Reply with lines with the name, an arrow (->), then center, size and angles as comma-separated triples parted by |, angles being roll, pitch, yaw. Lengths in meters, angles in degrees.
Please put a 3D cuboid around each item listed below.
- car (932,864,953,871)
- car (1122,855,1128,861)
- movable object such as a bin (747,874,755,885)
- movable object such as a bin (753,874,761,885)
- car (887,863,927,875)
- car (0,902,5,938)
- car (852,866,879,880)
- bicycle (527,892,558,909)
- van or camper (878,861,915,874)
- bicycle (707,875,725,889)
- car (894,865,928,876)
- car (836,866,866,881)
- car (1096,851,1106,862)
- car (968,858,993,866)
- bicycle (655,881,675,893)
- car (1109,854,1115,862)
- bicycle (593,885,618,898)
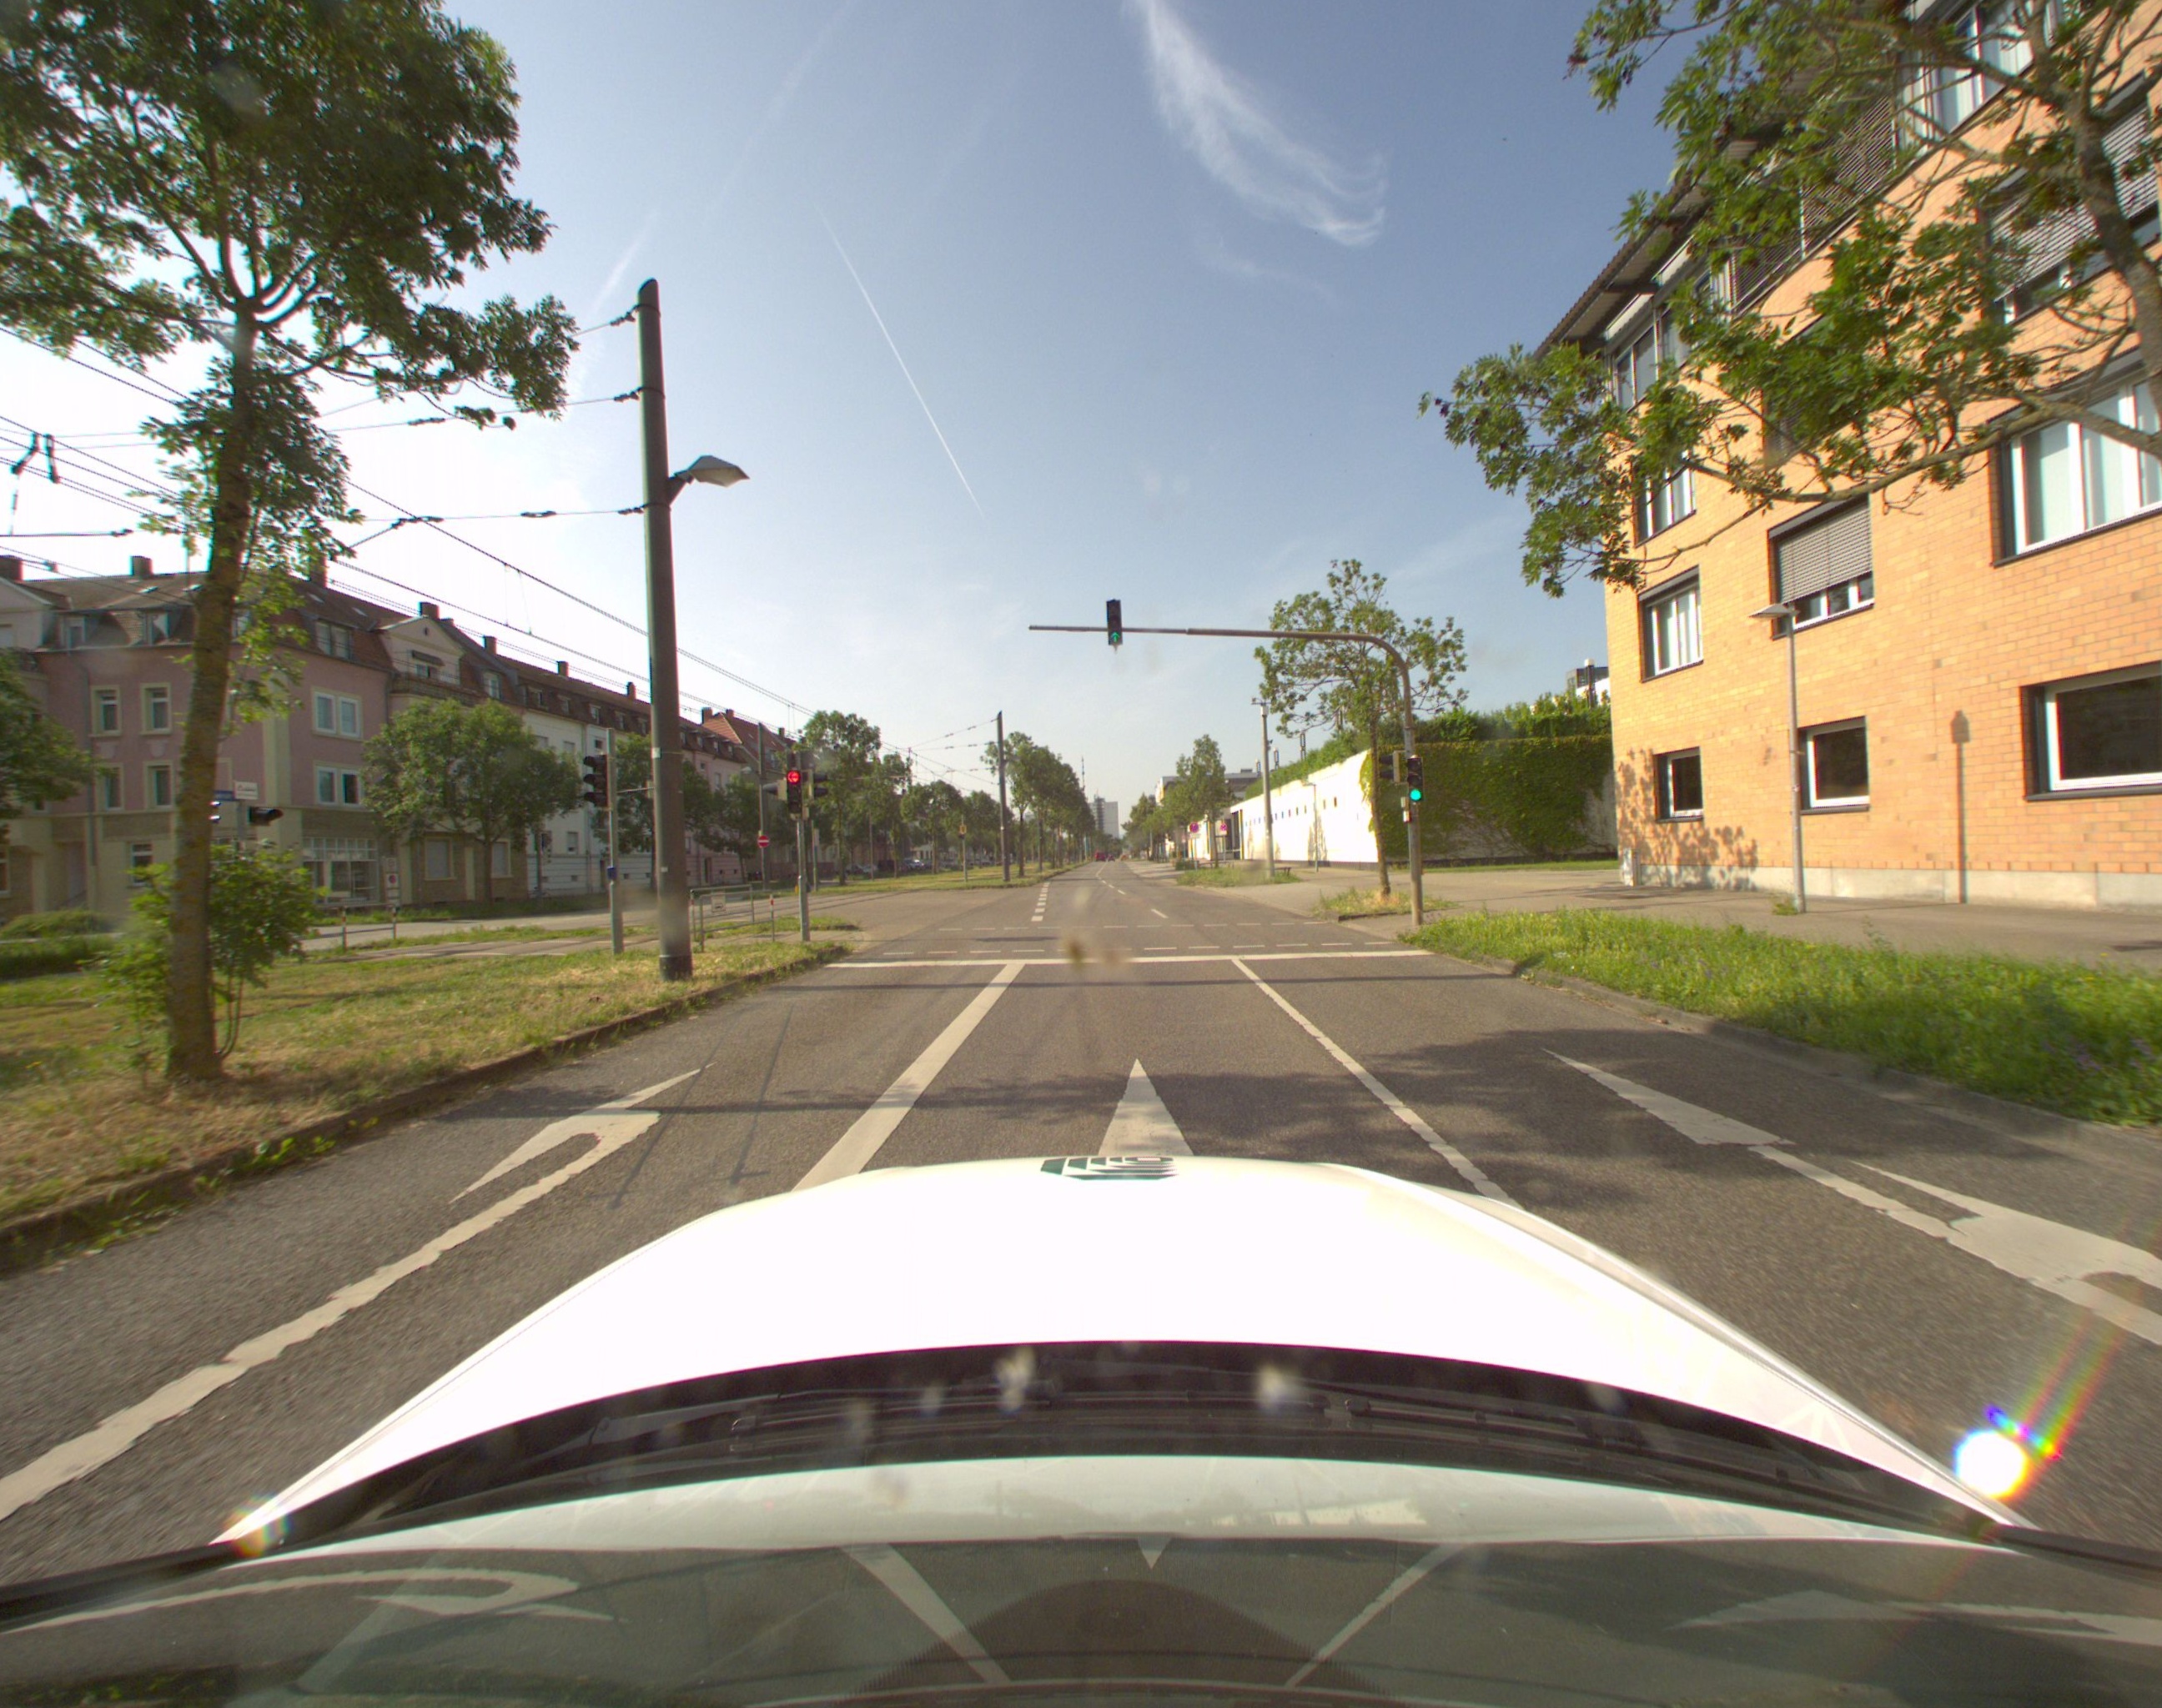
car -> -22.302, 2.165, 130.795 | 3.123, 1.161, 1.506 | -1, -1, 34
car -> 12.066, 1.124, 223.638 | 1.741, 1.650, 3.218 | 0, -1, 3
movable object such as a bin -> -35.146, 2.717, 86.747 | 0.583, 1.211, 0.640 | 0, -1, 1
movable object such as a bin -> -34.473, 2.713, 86.756 | 0.583, 1.211, 0.640 | 0, -1, 1
car -> -23.102, 2.011, 108.196 | 5.154, 1.623, 2.070 | -1, -1, 32
car -> -45.855, 2.705, 32.621 | 3.387, 1.462, 1.569 | 0, -1, 0
car -> -25.891, 2.283, 98.033 | 1.881, 1.628, 4.162 | 0, 0, 5
bicycle -> -30.677, 2.625, 46.413 | 0.466, 0.889, 1.948 | 0, -1, 1
van or camper -> -23.951, 1.783, 105.560 | 4.787, 1.623, 2.015 | -1, -1, 35
bicycle -> -30.005, 2.310, 66.945 | 0.602, 1.128, 1.948 | 0, -1, 1
car -> -23.215, 2.238, 111.280 | 4.419, 1.419, 1.988 | -1, -1, 32
car -> -26.085, 2.171, 92.357 | 1.987, 1.628, 4.775 | 0, 0, 1
car -> 3.681, 0.477, 152.646 | 1.741, 2.014, 3.218 | 0, -1, 3
car -> -21.004, 1.725, 170.134 | 5.258, 1.738, 2.013 | -1, -1, 36
bicycle -> -30.304, 2.384, 59.390 | 0.446, 0.857, 1.948 | 0, -1, 1
car -> 8.344, 1.122, 218.428 | 1.741, 2.014, 3.218 | 0, -1, 3
bicycle -> -30.659, 2.411, 52.501 | 0.436, 0.789, 1.948 | 0, -1, 1
